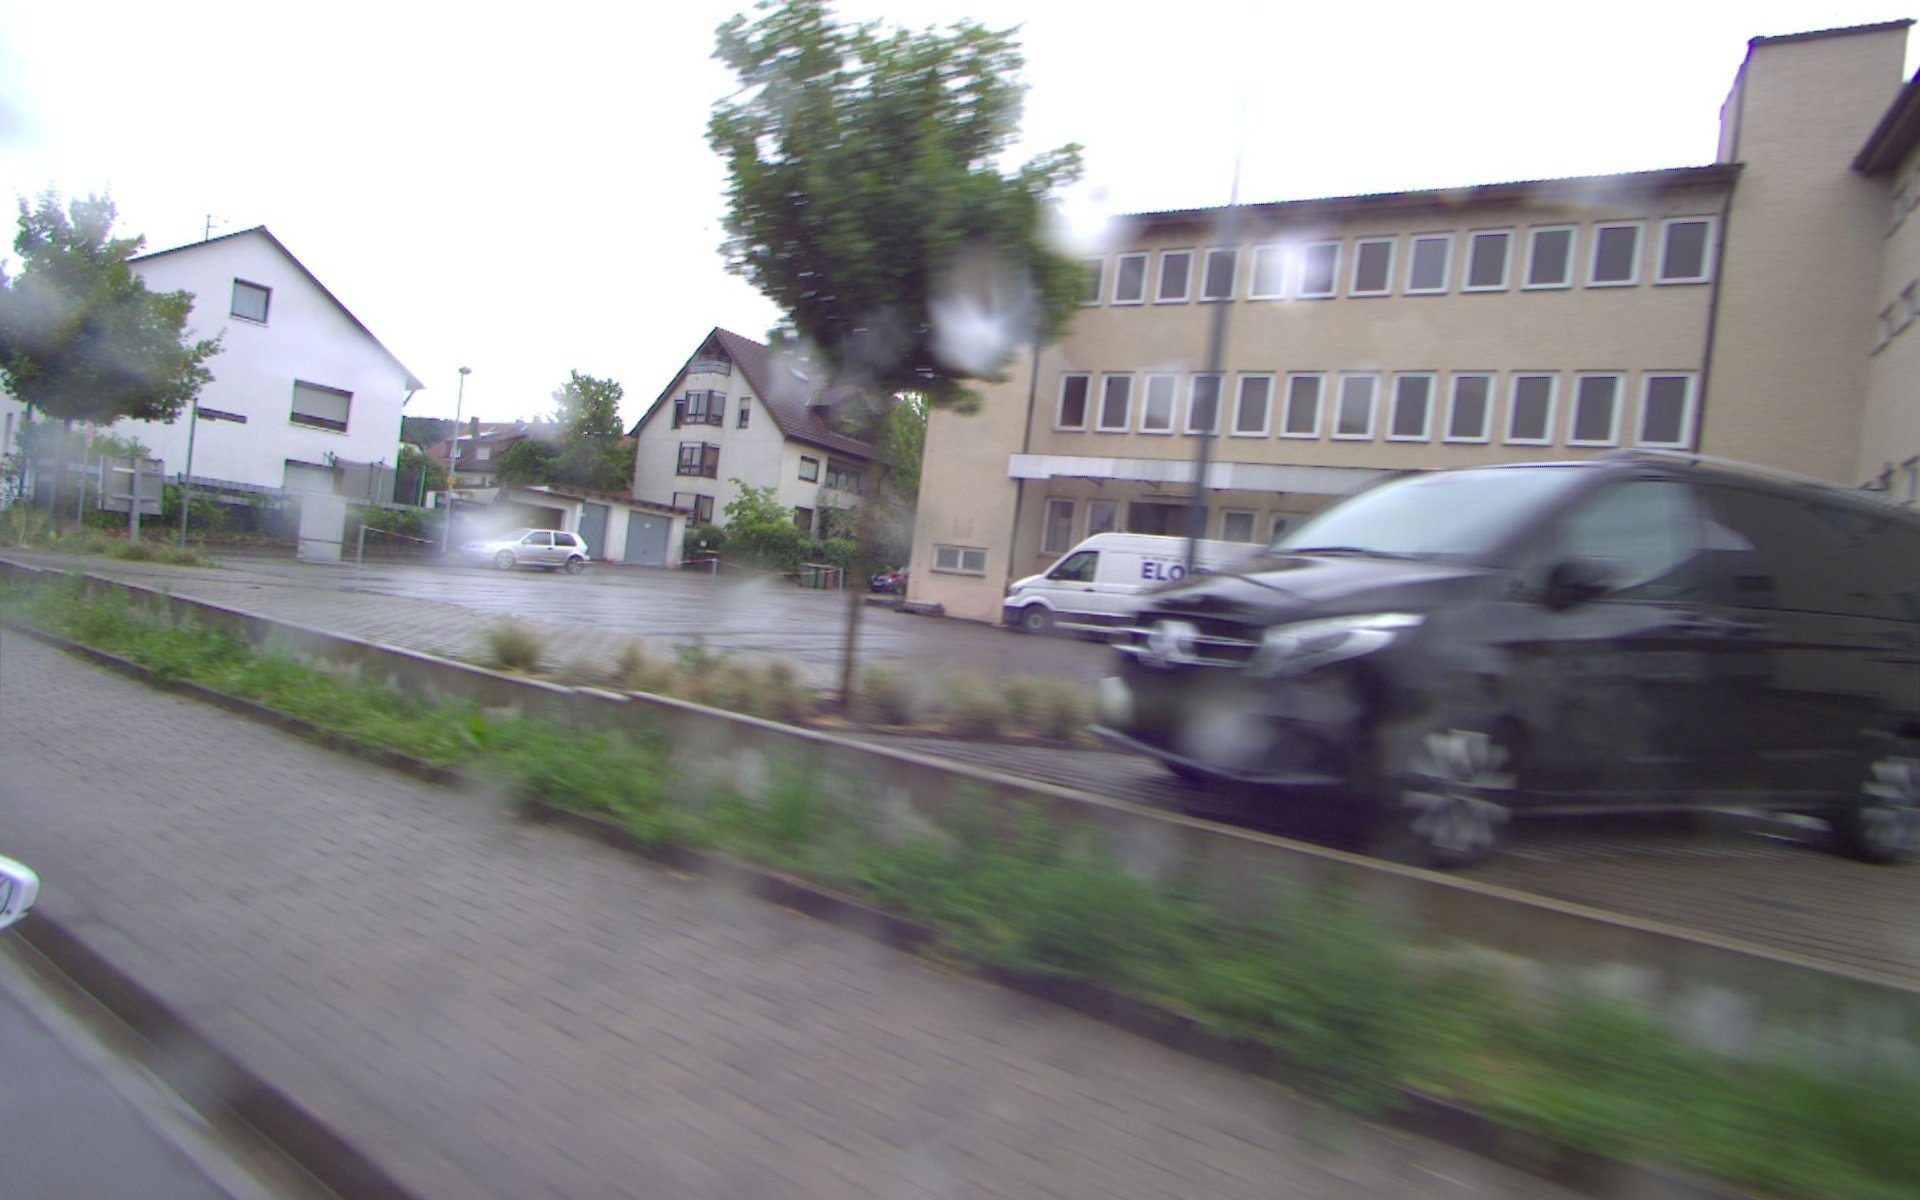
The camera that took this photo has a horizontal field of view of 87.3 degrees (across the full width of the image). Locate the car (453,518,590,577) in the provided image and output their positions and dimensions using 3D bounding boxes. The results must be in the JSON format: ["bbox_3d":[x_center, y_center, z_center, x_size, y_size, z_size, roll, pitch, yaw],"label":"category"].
[{"bbox_3d":[-14.344,-1.686,33.055,1.583,1.473,3.767,7,1,35],"label":"car"}]

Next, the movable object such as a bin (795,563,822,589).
[{"bbox_3d":[-6.736,-1.050,44.765,0.819,0.990,0.658,9,0,34],"label":"movable object such as a bin"}]

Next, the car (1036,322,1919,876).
[{"bbox_3d":[3.193,0.192,5.431,5.045,1.944,2.042,6,1,-22],"label":"car"}]

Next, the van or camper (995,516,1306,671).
[{"bbox_3d":[4.329,-0.156,23.073,6.481,2.567,2.001,8,0,21],"label":"van or camper"}]

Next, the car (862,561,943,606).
[{"bbox_3d":[-2.734,-0.771,48.911,1.849,1.570,3.995,9,-1,31],"label":"car"}]
